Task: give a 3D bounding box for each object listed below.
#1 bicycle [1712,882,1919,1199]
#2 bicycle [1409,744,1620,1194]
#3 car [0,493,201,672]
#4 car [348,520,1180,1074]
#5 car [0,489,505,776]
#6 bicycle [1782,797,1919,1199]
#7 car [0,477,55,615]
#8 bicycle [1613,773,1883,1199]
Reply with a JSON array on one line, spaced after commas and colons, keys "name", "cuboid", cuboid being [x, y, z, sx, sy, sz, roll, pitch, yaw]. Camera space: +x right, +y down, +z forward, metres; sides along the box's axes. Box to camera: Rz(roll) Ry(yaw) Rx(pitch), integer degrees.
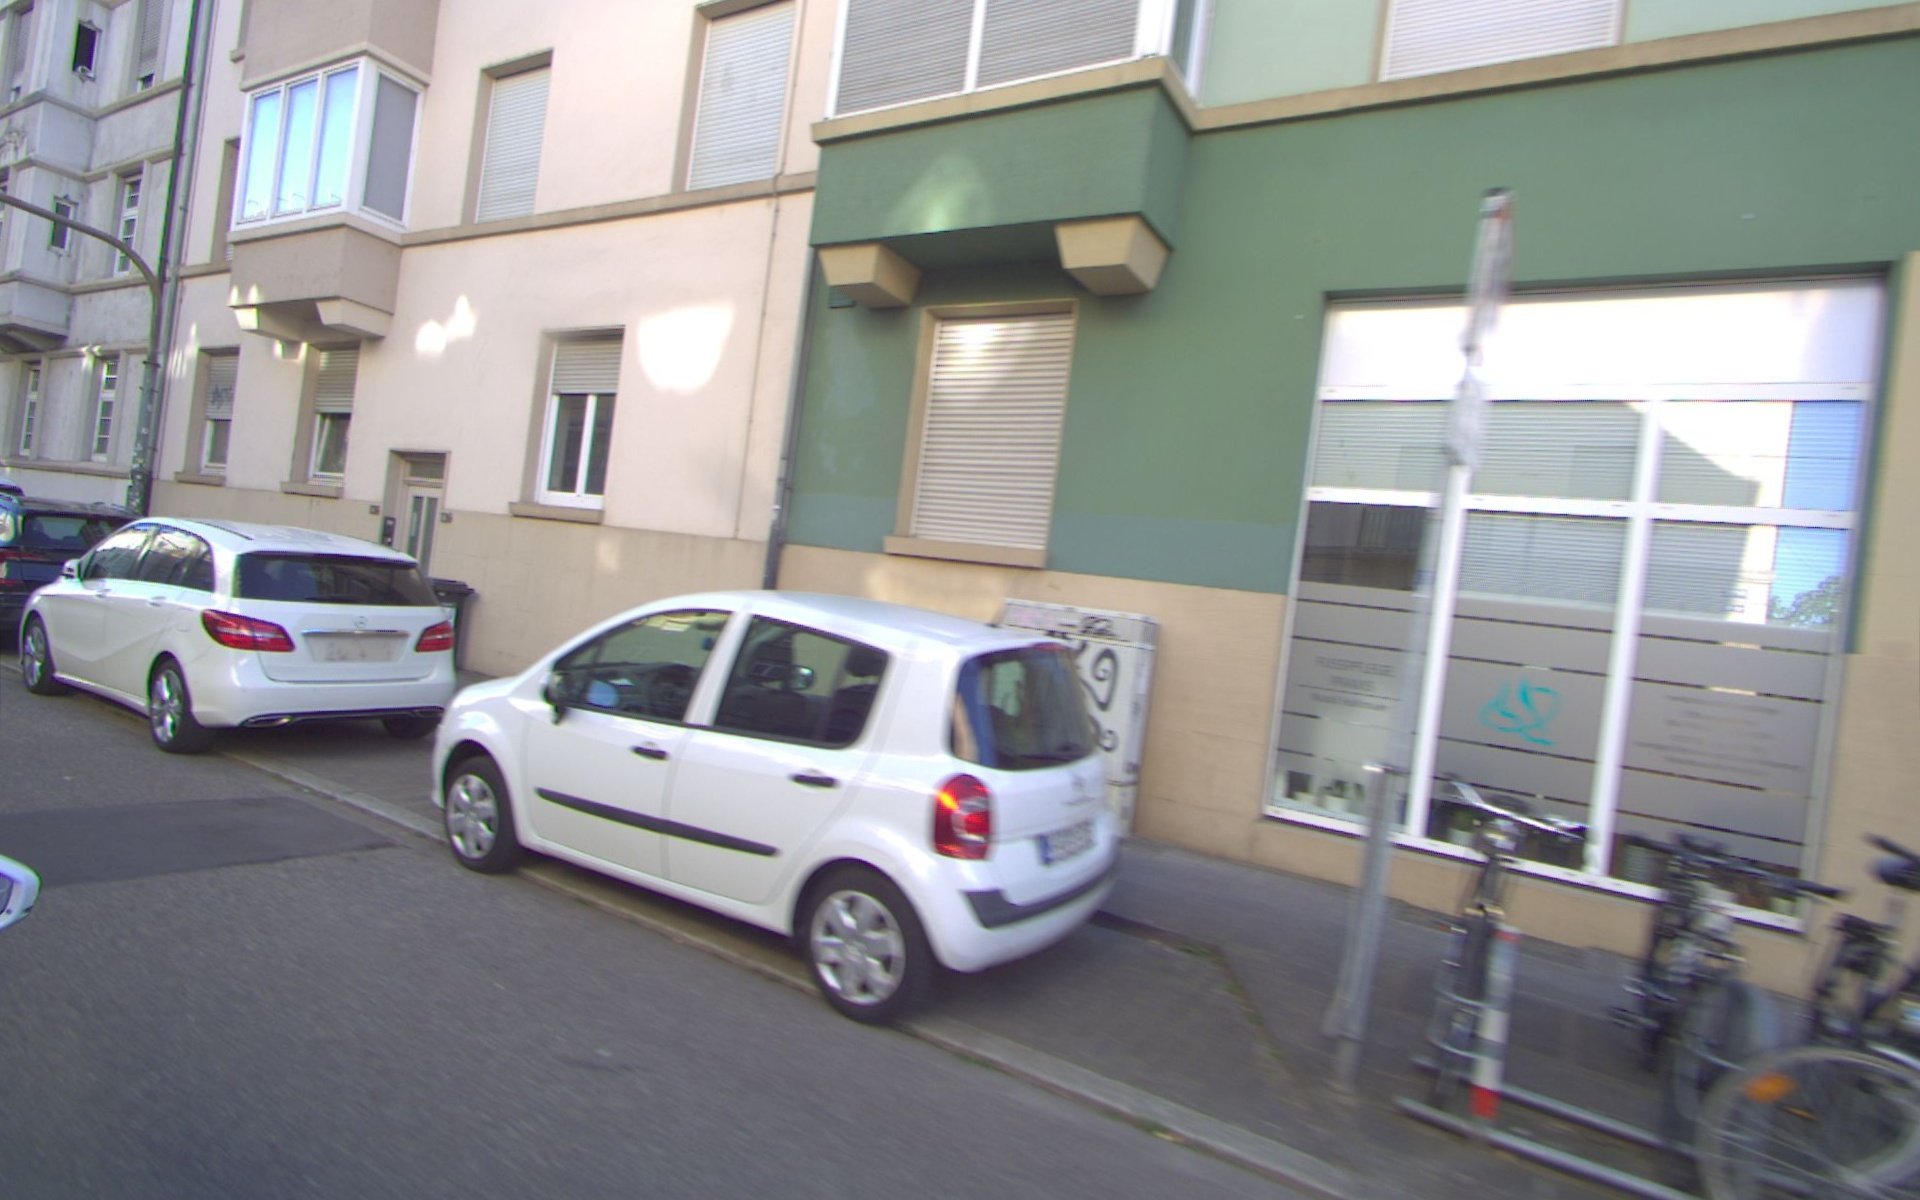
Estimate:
[{"name": "bicycle", "cuboid": [2.892, 1.430, 2.360, 1.700, 1.057, 0.353, 7, 0, 33]}, {"name": "bicycle", "cuboid": [2.206, 1.261, 3.939, 0.461, 1.170, 1.722, 8, 3, 32]}, {"name": "car", "cuboid": [-10.178, -0.325, 10.861, 4.266, 1.585, 1.657, 7, 0, 32]}, {"name": "car", "cuboid": [-1.136, 0.658, 5.212, 3.934, 1.652, 1.786, 7, 0, 32]}, {"name": "car", "cuboid": [-5.836, 0.155, 8.101, 4.255, 1.595, 1.786, 7, -1, 32]}, {"name": "bicycle", "cuboid": [3.316, 1.409, 3.418, 0.461, 1.170, 1.722, 8, 3, 32]}, {"name": "car", "cuboid": [-14.647, -0.983, 13.846, 4.522, 1.773, 1.659, 7, 0, 27]}, {"name": "bicycle", "cuboid": [2.757, 1.352, 3.670, 0.461, 1.170, 1.722, 8, 3, 32]}]
